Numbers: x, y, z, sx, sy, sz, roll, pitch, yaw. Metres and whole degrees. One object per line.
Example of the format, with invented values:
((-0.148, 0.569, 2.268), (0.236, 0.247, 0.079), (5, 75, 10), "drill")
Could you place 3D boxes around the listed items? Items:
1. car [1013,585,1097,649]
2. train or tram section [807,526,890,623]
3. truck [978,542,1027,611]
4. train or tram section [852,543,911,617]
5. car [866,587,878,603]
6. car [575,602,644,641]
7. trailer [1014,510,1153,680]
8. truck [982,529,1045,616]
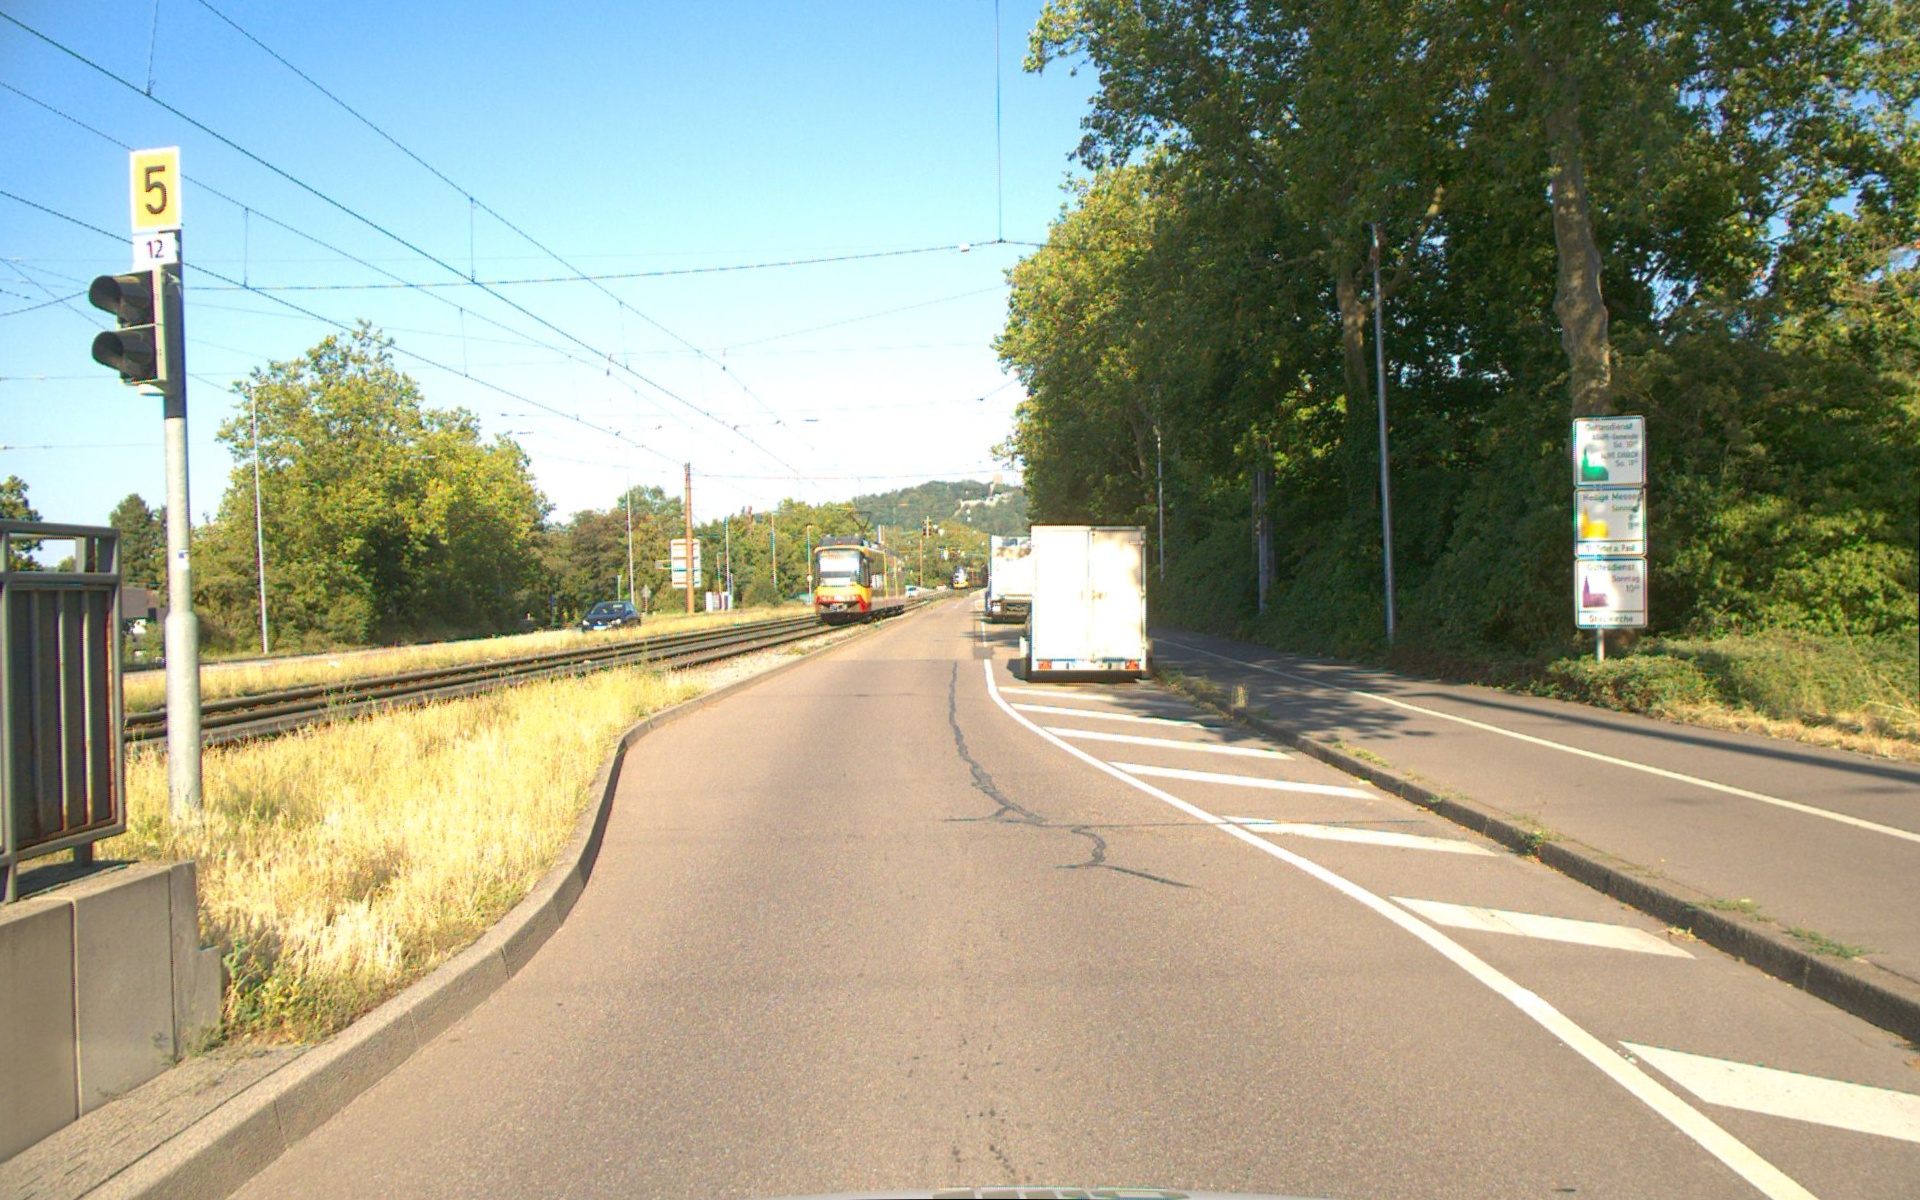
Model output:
((2.283, 0.379, 40.765), (1.772, 1.482, 4.165), (0, 0, -1), "car")
((-5.140, -1.170, 79.071), (2.665, 4.162, 13.617), (-2, 0, 1), "train or tram section")
((2.423, -1.361, 97.119), (2.661, 3.849, 9.761), (0, 0, 0), "truck")
((-4.727, -1.181, 101.822), (2.663, 4.160, 12.814), (-2, 0, 1), "train or tram section")
((-12.047, -0.681, 226.331), (1.689, 2.049, 3.998), (0, 0, -3), "car")
((-14.370, 0.848, 68.051), (1.737, 1.450, 4.490), (-2, 0, 1), "car")
((2.190, -0.101, 29.872), (2.204, 2.742, 5.950), (-1, 0, 4), "trailer")
((2.426, -1.258, 77.908), (2.685, 3.849, 10.089), (0, 0, 0), "truck")
